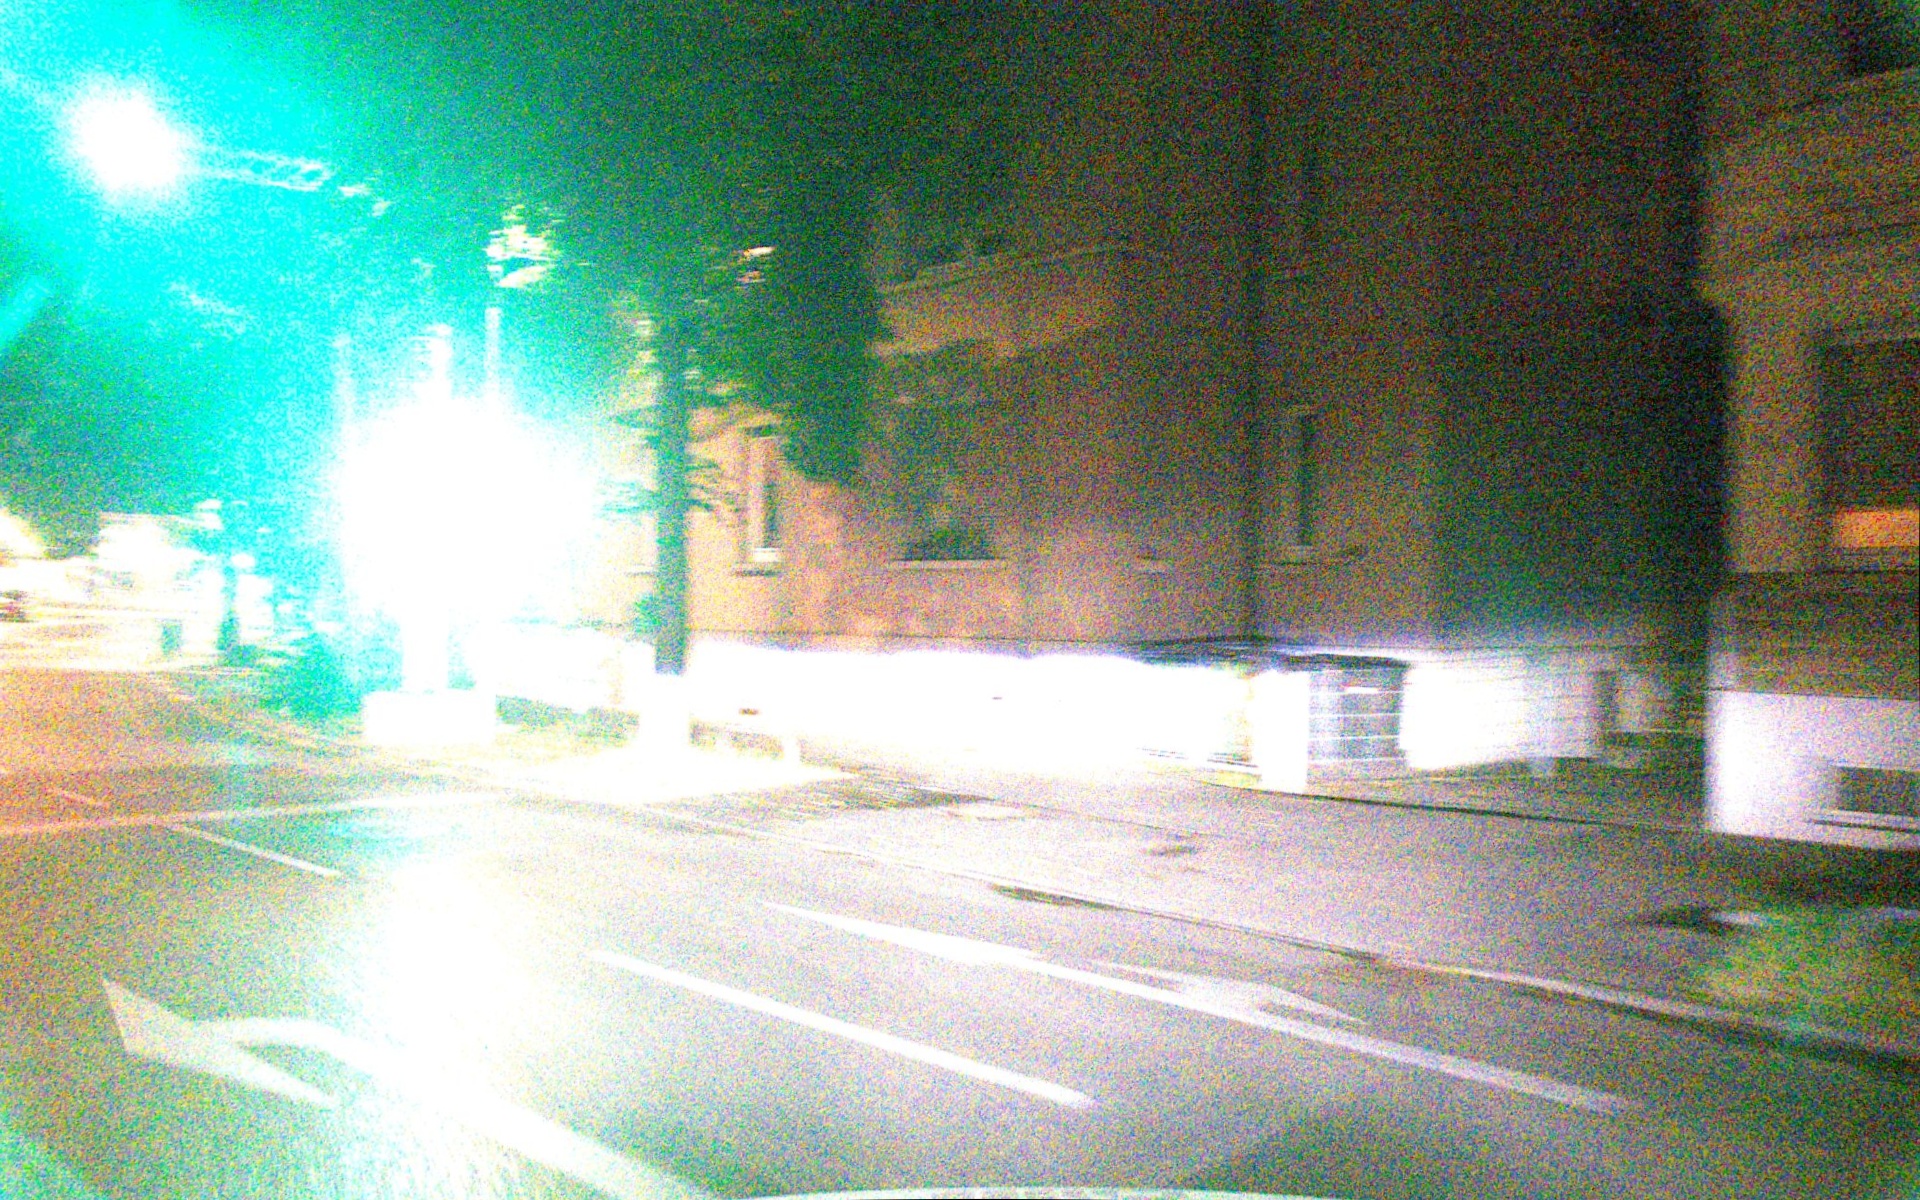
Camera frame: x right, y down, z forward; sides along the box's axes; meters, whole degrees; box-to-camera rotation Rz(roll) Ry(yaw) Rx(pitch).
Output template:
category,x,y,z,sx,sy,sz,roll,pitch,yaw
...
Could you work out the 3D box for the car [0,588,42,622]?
category,x,y,z,sx,sy,sz,roll,pitch,yaw
car,-42.751,0.208,74.544,1.759,1.440,4.100,3,-1,-21
